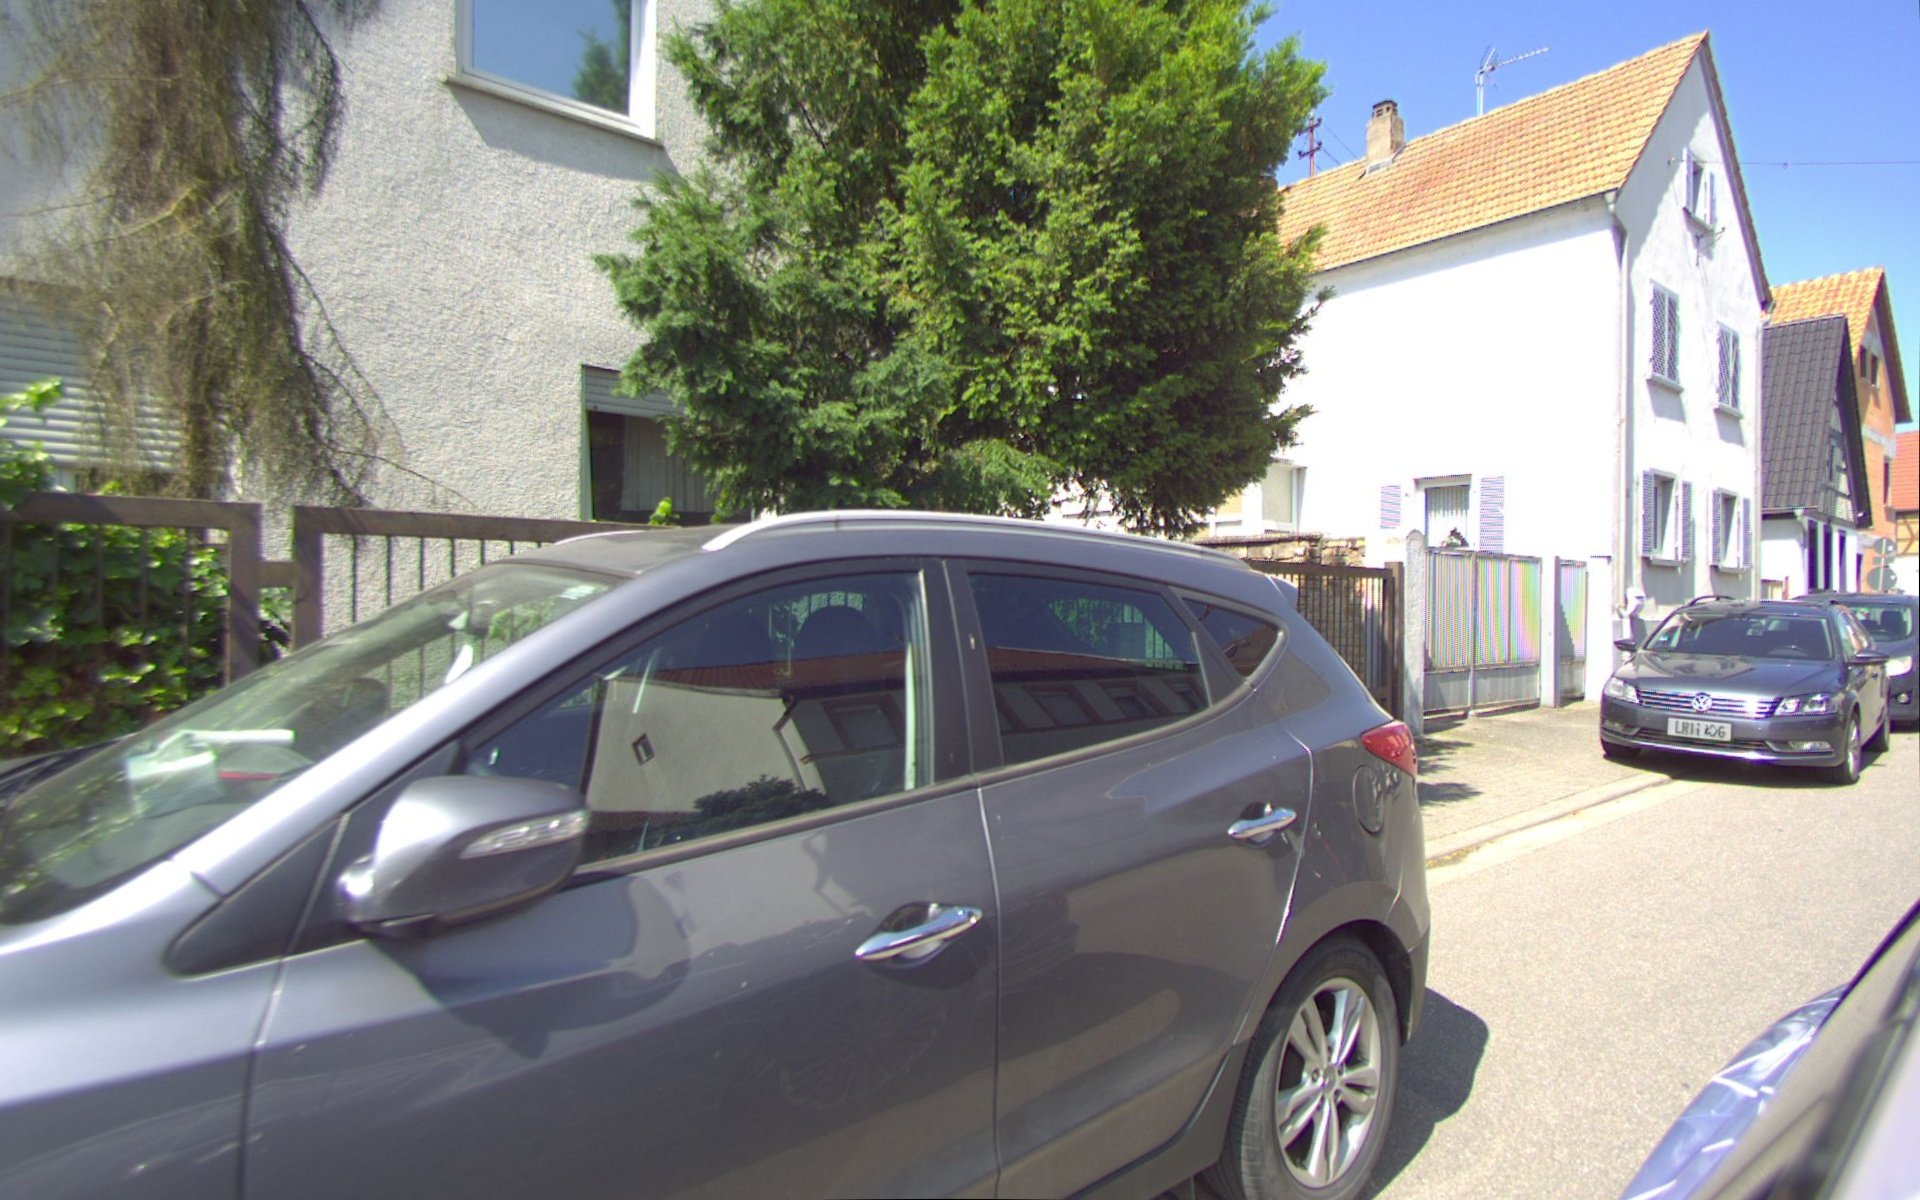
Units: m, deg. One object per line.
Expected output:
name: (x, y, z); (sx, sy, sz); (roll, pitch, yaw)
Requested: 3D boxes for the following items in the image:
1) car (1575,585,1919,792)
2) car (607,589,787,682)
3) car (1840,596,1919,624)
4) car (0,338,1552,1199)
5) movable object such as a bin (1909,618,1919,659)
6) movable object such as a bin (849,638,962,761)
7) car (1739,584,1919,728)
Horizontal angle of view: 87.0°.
car: (7.649, 0.641, 9.638); (4.502, 1.527, 1.822); (0, 0, -41)
car: (-4.577, 0.603, 17.306); (1.529, 1.425, 3.629); (0, -2, -41)
car: (50.614, 0.518, 54.296); (1.960, 1.470, 4.773); (0, 0, -29)
car: (-0.500, 0.598, 2.308); (4.281, 1.651, 1.798); (1, 0, -39)
movable object such as a bin: (22.372, 0.894, 23.340); (0.540, 0.925, 0.541); (0, 0, -23)
movable object such as a bin: (-0.487, 0.843, 8.876); (0.559, 0.961, 0.883); (1, 1, -42)
car: (11.863, 0.607, 13.152); (4.548, 1.580, 1.801); (0, 0, -40)
